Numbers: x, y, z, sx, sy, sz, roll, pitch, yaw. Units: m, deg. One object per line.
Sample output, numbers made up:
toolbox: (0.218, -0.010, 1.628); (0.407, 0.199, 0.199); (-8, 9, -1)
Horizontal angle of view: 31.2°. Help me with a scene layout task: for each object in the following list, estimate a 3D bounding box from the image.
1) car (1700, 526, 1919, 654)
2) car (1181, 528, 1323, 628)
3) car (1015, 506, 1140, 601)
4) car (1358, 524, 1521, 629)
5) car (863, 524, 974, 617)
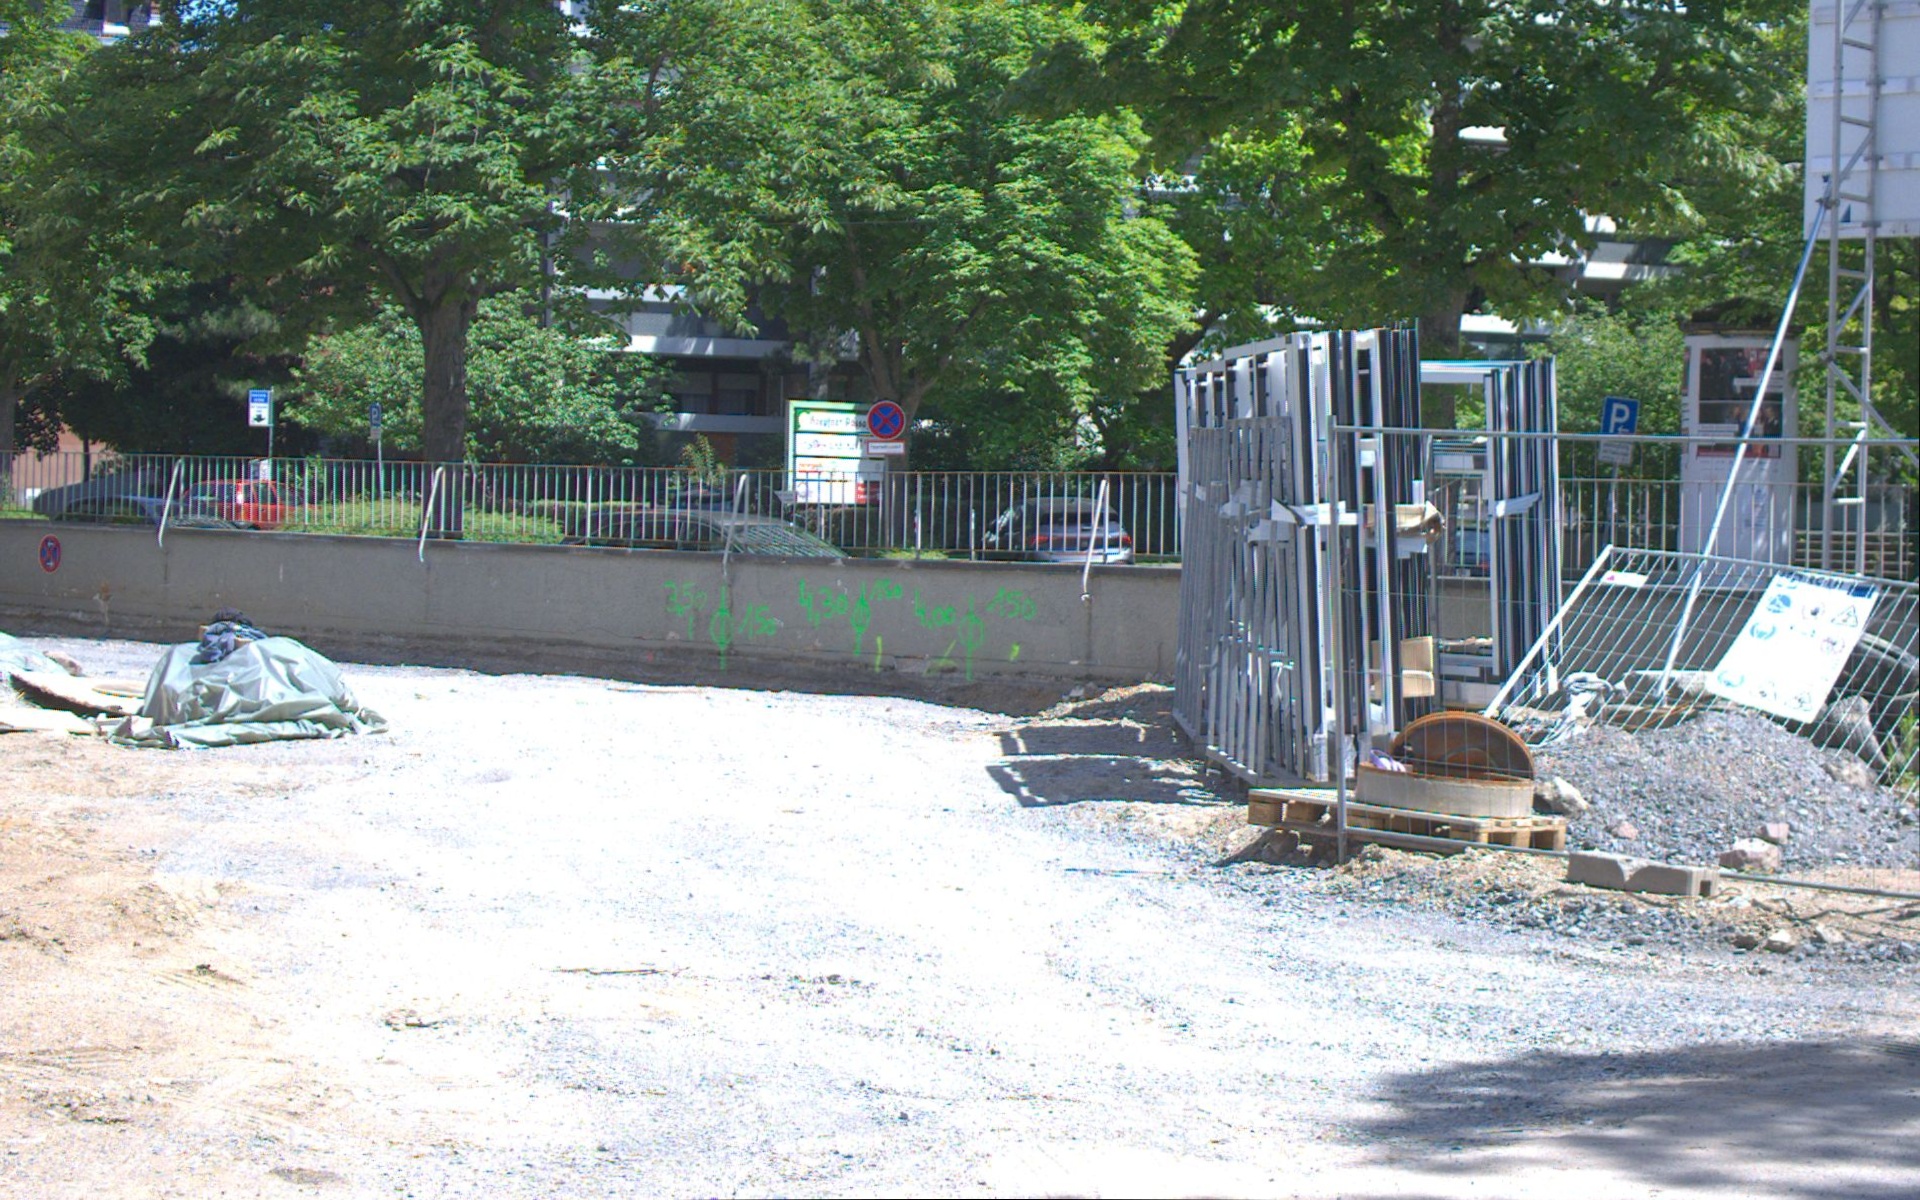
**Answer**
car: (10.454, -0.151, 41.827); (1.632, 1.458, 3.679); (1, 1, -8)
car: (4.282, -0.348, 50.866); (1.633, 1.382, 3.678); (1, 1, -2)
car: (1.782, -0.737, 53.150); (1.633, 1.382, 3.678); (1, 1, -2)
car: (6.720, -0.355, 48.489); (1.633, 1.382, 3.678); (1, 1, -2)
car: (-0.682, -0.490, 54.020); (1.633, 1.382, 3.678); (1, 1, -2)
